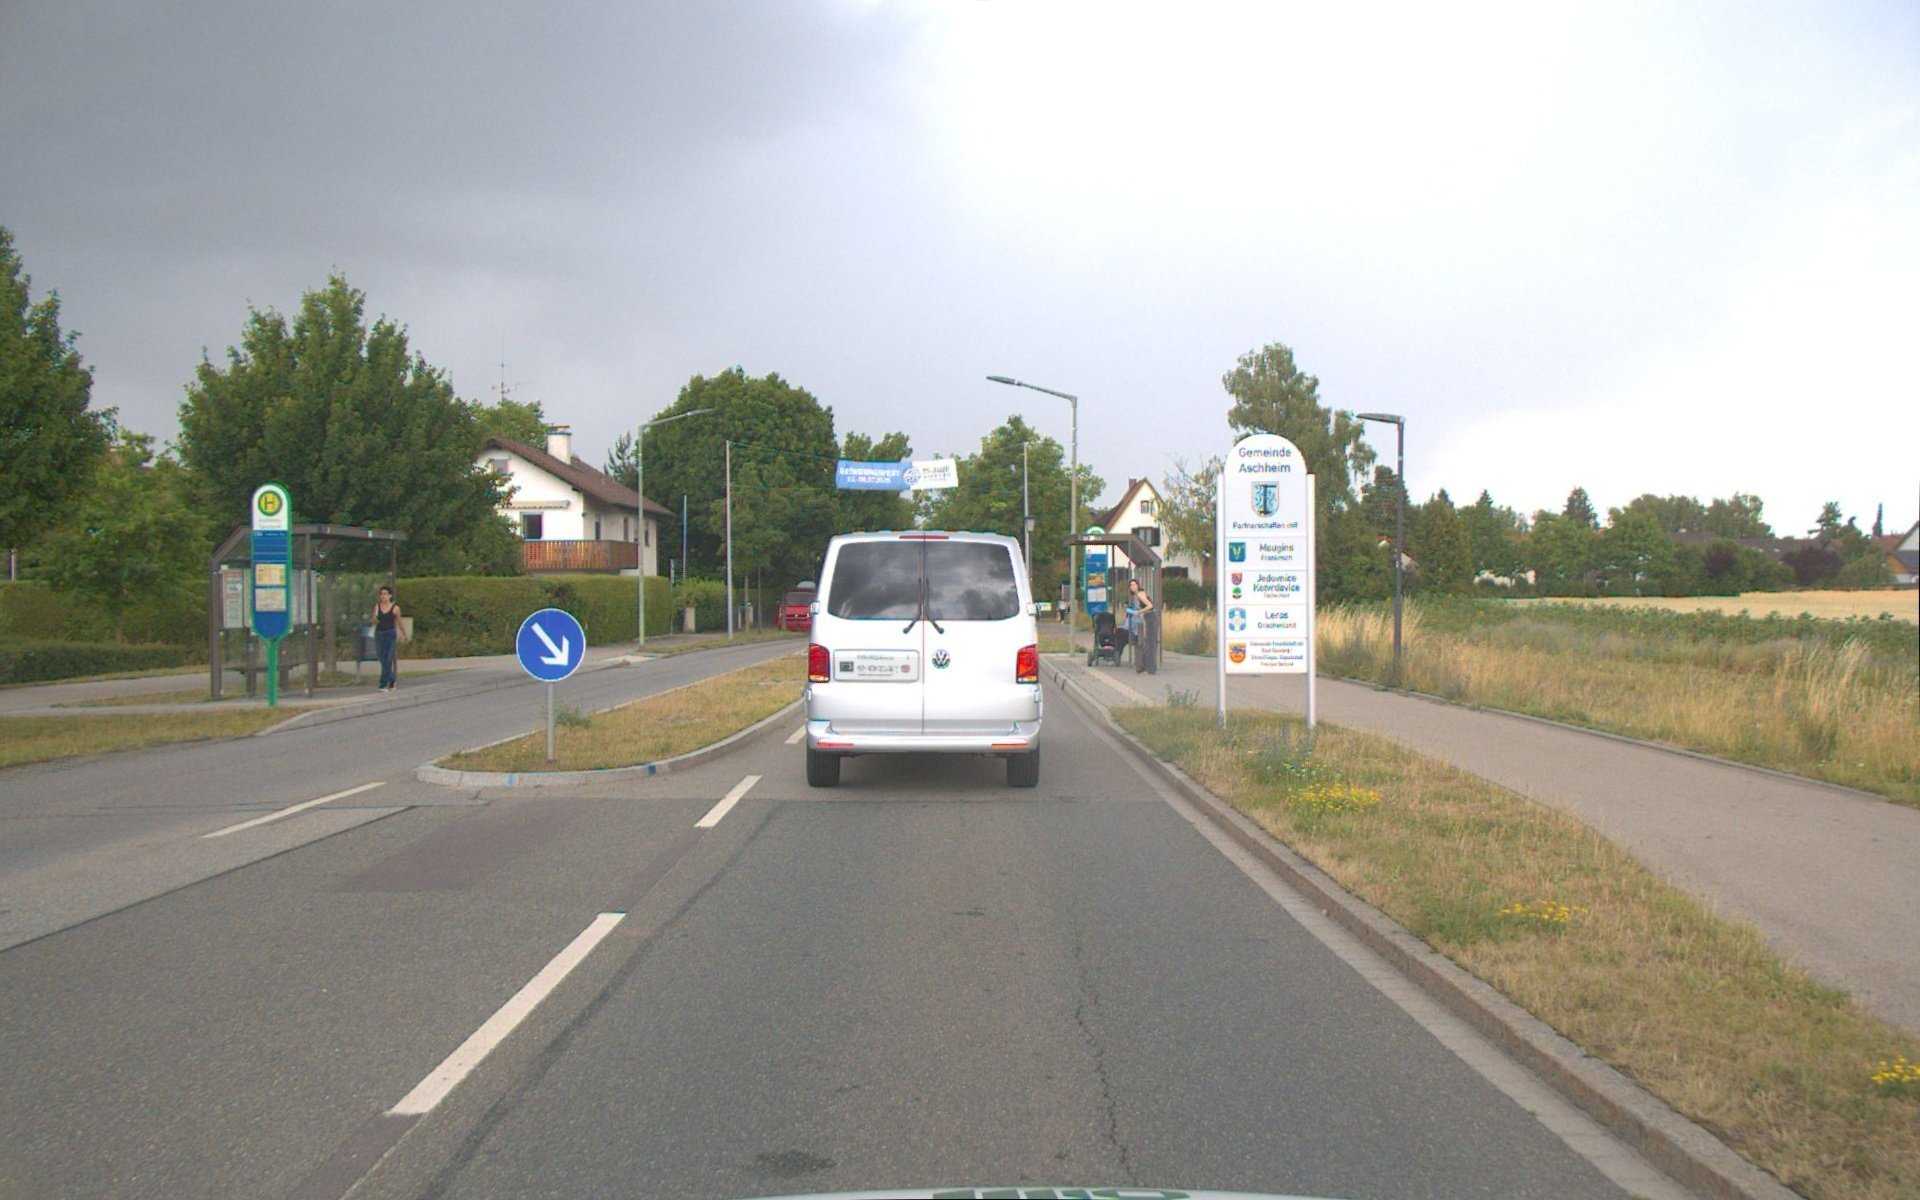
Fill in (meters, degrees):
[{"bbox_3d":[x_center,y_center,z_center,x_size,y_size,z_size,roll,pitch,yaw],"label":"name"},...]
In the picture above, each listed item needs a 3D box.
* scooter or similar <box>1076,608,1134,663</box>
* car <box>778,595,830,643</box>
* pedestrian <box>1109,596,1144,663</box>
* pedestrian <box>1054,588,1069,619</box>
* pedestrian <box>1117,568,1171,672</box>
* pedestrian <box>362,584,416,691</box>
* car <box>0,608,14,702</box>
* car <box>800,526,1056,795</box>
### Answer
[{"bbox_3d":[2.880,0.701,32.880,0.695,1.080,1.056,1,-1,36],"label":"scooter or similar"},{"bbox_3d":[-7.033,0.806,74.976,1.792,2.066,5.046,1,0,0],"label":"car"},{"bbox_3d":[3.363,0.592,33.396,0.650,1.325,0.505,1,0,9],"label":"pedestrian"},{"bbox_3d":[5.864,0.185,95.734,0.820,1.785,0.870,0,0,4],"label":"pedestrian"},{"bbox_3d":[3.307,0.358,29.656,0.765,1.824,0.779,1,0,21],"label":"pedestrian"},{"bbox_3d":[-9.048,0.580,26.229,0.576,1.665,0.812,-1,0,-1],"label":"pedestrian"},{"bbox_3d":[-22.885,1.225,35.542,3.907,2.049,1.999,-1,0,-3],"label":"car"},{"bbox_3d":[-0.264,0.453,14.011,1.849,1.945,3.999,0,0,-1],"label":"car"}]
